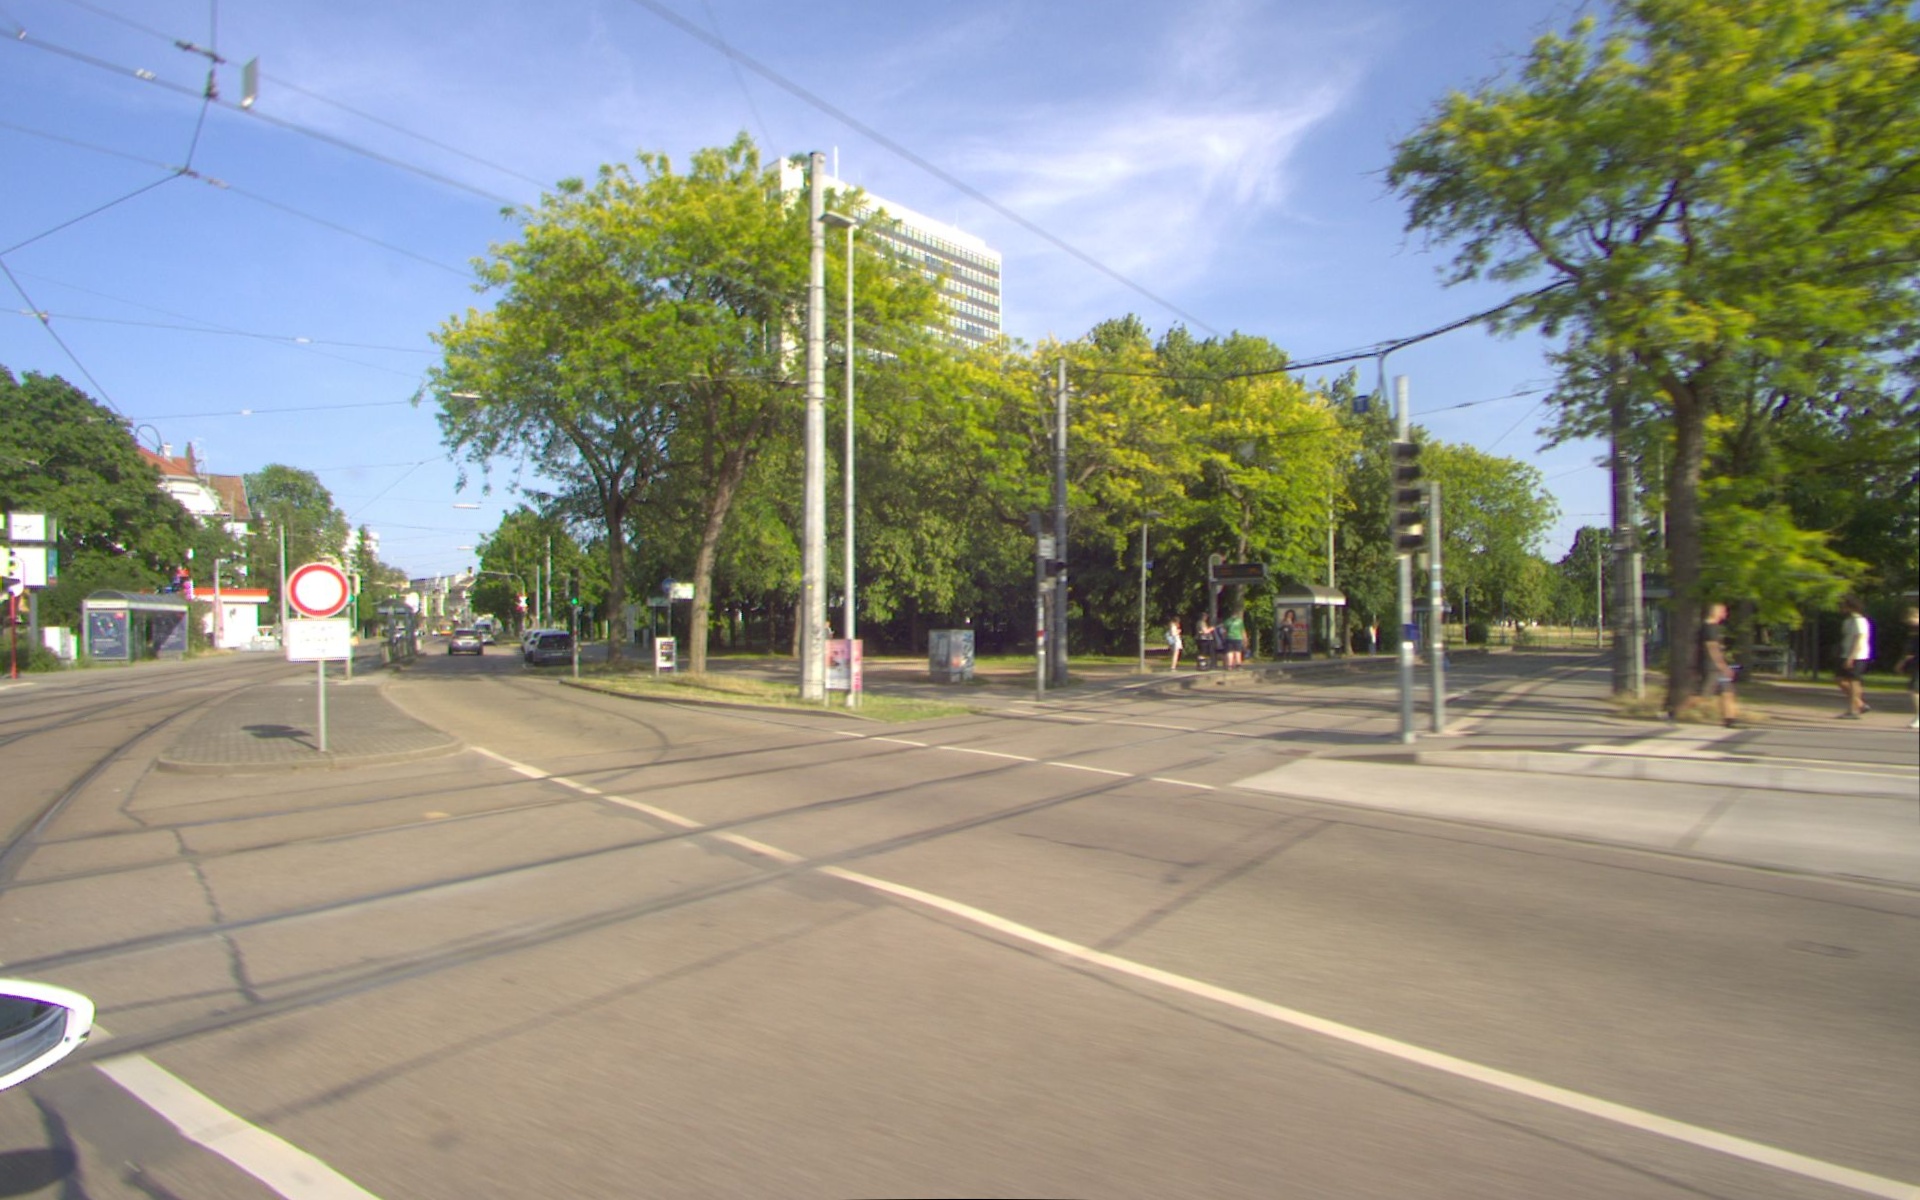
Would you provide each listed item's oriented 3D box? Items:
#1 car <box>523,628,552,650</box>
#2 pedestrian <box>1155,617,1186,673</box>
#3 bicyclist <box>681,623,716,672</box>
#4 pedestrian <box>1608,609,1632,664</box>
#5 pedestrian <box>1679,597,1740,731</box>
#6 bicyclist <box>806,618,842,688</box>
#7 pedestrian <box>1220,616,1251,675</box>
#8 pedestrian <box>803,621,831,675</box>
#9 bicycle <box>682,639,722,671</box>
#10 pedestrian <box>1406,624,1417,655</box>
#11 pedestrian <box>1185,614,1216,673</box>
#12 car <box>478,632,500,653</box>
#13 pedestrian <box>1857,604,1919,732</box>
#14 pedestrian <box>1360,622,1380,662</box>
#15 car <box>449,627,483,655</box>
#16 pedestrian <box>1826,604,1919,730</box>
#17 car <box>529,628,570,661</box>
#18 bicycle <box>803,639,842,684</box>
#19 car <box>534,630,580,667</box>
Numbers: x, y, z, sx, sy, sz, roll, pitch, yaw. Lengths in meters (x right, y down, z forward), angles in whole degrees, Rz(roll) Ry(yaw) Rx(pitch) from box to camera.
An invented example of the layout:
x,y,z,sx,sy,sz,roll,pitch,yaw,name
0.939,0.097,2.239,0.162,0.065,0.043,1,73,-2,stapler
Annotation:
x,y,z,sx,sy,sz,roll,pitch,yaw,name
-30.456,2.778,72.172,1.829,1.535,3.988,-1,-1,-23,car
6.211,1.327,29.556,0.682,1.631,0.638,-1,-1,38,pedestrian
-9.583,1.729,36.703,0.715,1.769,1.129,-3,1,-44,bicyclist
22.984,1.286,34.872,0.599,1.890,0.458,-2,-4,41,pedestrian
10.373,0.882,13.866,0.574,1.798,0.582,4,-4,-44,pedestrian
-3.614,1.392,26.543,0.640,1.769,1.137,-2,1,-21,bicyclist
7.994,1.316,29.094,0.682,1.686,0.638,-1,-1,38,pedestrian
-4.512,1.506,31.683,0.635,1.686,0.686,1,-1,-36,pedestrian
-9.447,2.008,36.589,0.636,1.102,1.716,-2,0,-44,bicycle
24.174,2.116,53.641,0.478,1.686,0.412,-1,-1,36,pedestrian
7.031,1.267,29.232,0.682,1.686,0.638,-1,-1,38,pedestrian
-47.845,4.361,101.732,1.969,2.038,3.988,3,-4,-25,car
13.656,0.987,14.426,0.864,1.798,0.673,1,-3,19,pedestrian
18.823,1.939,46.010,0.666,1.822,0.606,3,-4,-38,pedestrian
-30.565,2.550,62.023,1.813,1.620,3.802,2,-3,-25,car
14.316,1.049,15.704,0.863,1.920,0.673,1,-3,11,pedestrian
-20.780,2.229,50.645,1.829,1.535,3.988,-1,-1,-23,car
-3.699,1.633,26.855,0.631,1.102,1.935,-2,0,-20,bicycle
-18.289,2.166,45.502,1.829,1.535,3.989,-1,-1,-22,car
